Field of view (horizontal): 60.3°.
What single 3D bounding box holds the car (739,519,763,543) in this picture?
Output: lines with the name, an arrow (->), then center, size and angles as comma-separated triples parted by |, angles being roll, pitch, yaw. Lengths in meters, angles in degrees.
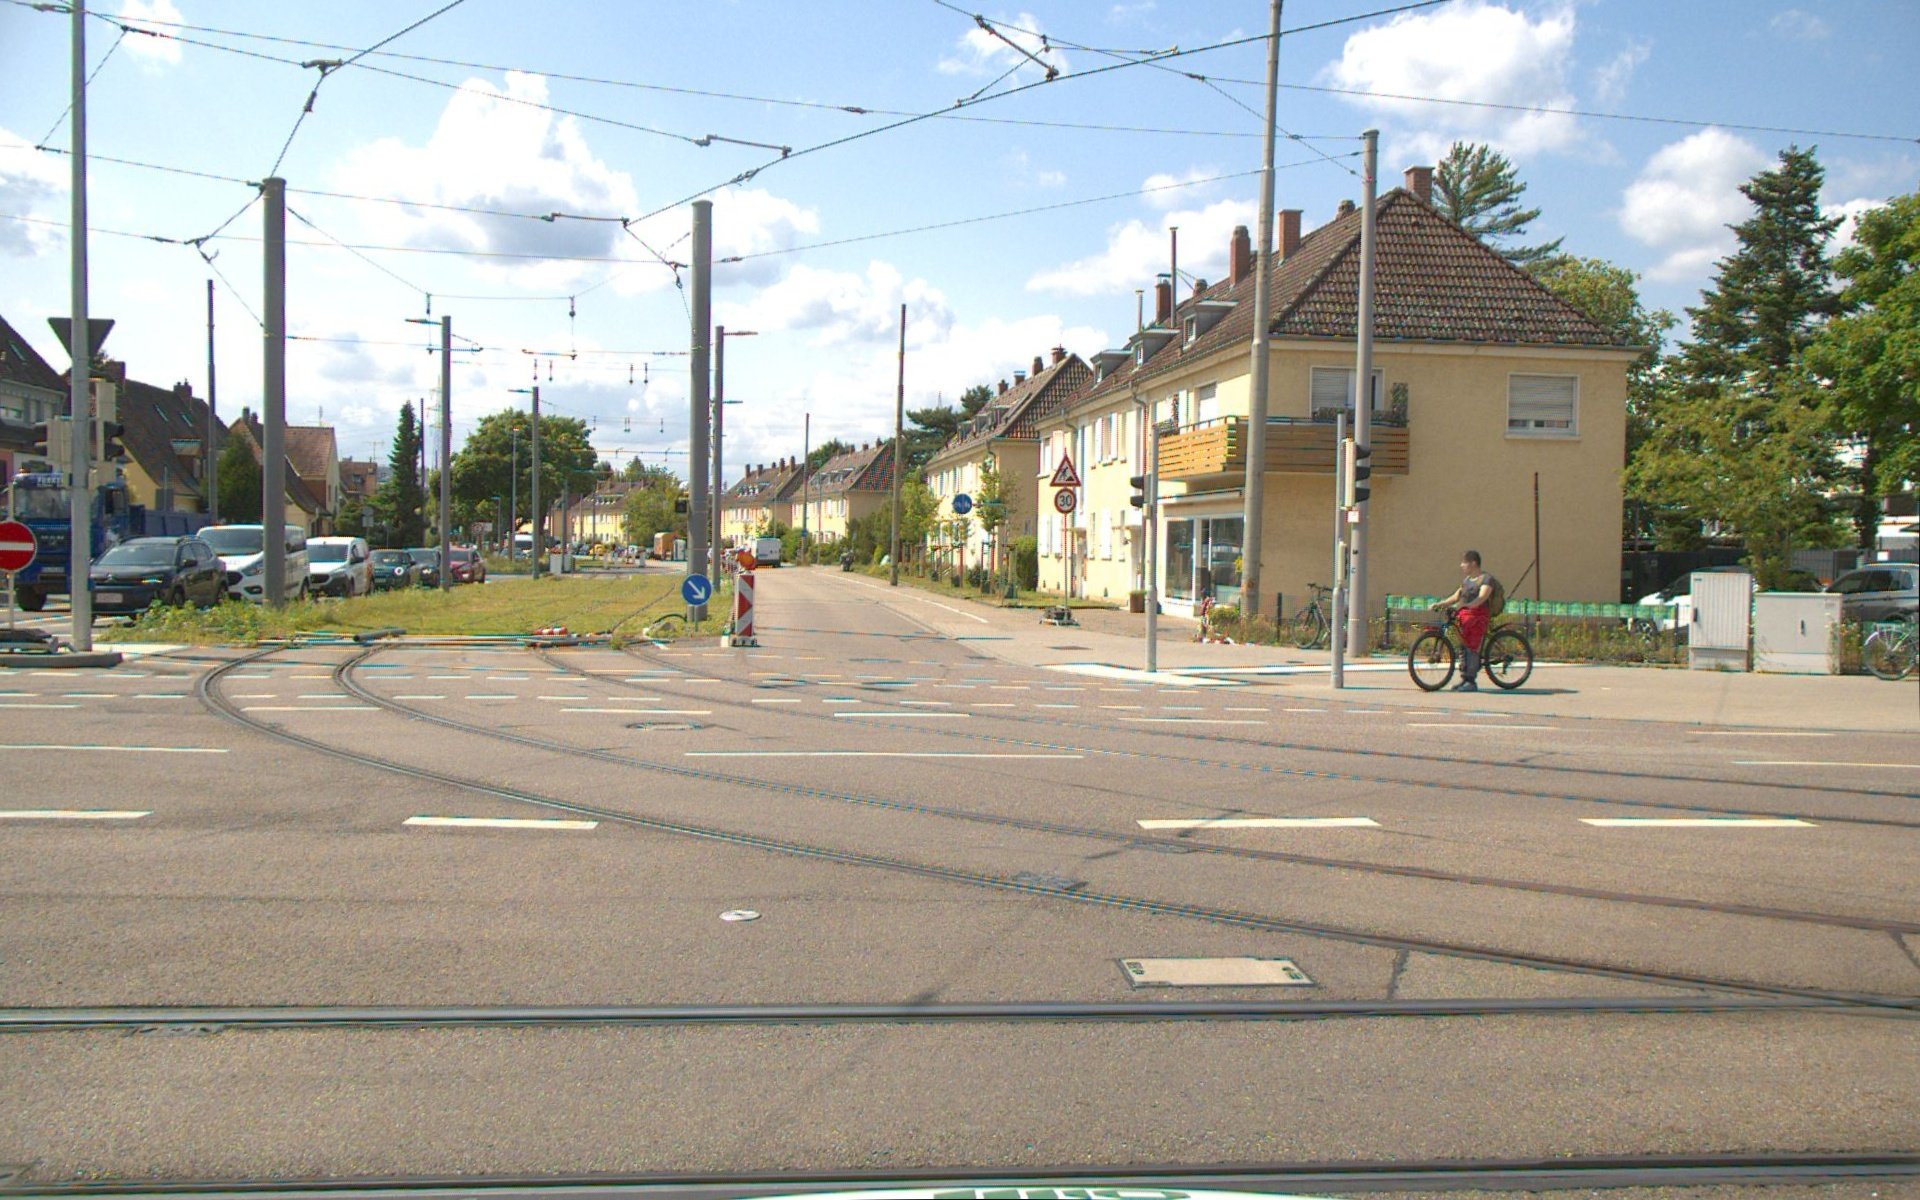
car -> -17.664, -5.843, 139.679 | 1.541, 1.930, 3.776 | 0, 3, -15

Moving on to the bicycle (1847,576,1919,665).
bicycle -> 13.043, 0.288, 22.329 | 1.773, 1.124, 0.699 | 3, 4, 38

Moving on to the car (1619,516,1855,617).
car -> 13.632, -0.627, 29.284 | 1.789, 1.649, 3.990 | 0, 2, -11

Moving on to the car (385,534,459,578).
car -> -19.581, -1.641, 60.394 | 1.809, 1.437, 4.908 | 0, 3, -9

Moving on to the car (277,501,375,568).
car -> -17.891, -1.887, 46.839 | 1.701, 1.812, 4.397 | 0, 3, -9

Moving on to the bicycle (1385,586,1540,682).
bicycle -> 6.450, 0.414, 21.209 | 2.004, 1.121, 0.709 | -1, 3, -29

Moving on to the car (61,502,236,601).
car -> -15.879, -1.023, 32.625 | 1.753, 1.750, 4.435 | 0, 4, -8

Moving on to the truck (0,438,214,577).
truck -> -21.743, -2.358, 42.532 | 2.717, 3.243, 7.569 | 0, 3, -9

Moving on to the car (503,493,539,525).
car -> -33.976, -7.053, 127.931 | 2.370, 2.378, 4.855 | -1, 3, -18

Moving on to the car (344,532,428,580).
car -> -18.547, -1.454, 53.576 | 1.879, 1.443, 3.993 | 0, 3, -9

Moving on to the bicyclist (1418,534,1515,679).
bicyclist -> 6.492, 0.066, 21.217 | 0.946, 1.805, 0.713 | -1, 3, -28

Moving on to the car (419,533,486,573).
car -> -20.546, -1.938, 67.127 | 1.809, 1.519, 4.849 | 0, 3, -8

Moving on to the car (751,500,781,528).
car -> -15.289, -6.785, 130.239 | 2.028, 2.186, 4.867 | 0, 3, -11

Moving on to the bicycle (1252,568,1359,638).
bicycle -> 6.078, 0.033, 29.246 | 0.586, 1.115, 2.258 | -1, 3, -26

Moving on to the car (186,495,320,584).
car -> -16.572, -1.472, 39.011 | 1.781, 1.954, 4.740 | 0, 3, -9

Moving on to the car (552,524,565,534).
car -> -58.169, -10.280, 239.543 | 1.153, 1.451, 2.640 | -1, 4, -29

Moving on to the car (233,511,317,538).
car -> -38.855, -4.309, 93.905 | 4.031, 1.491, 1.988 | 0, 3, -9

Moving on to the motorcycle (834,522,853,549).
motorcycle -> -7.417, -4.103, 105.396 | 1.047, 1.663, 2.080 | 0, 3, -9

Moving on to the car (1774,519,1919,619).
car -> 16.397, -0.582, 28.998 | 1.789, 1.649, 3.990 | 0, 2, -11

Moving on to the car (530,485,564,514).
car -> -34.984, -8.494, 140.023 | 2.370, 2.410, 4.856 | -1, 4, -18

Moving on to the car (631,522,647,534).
car -> -39.196, -8.748, 201.900 | 1.241, 1.451, 2.645 | -1, 3, -25

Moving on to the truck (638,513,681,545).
truck -> -34.566, -8.170, 189.996 | 2.606, 3.554, 9.368 | -1, 3, -24
